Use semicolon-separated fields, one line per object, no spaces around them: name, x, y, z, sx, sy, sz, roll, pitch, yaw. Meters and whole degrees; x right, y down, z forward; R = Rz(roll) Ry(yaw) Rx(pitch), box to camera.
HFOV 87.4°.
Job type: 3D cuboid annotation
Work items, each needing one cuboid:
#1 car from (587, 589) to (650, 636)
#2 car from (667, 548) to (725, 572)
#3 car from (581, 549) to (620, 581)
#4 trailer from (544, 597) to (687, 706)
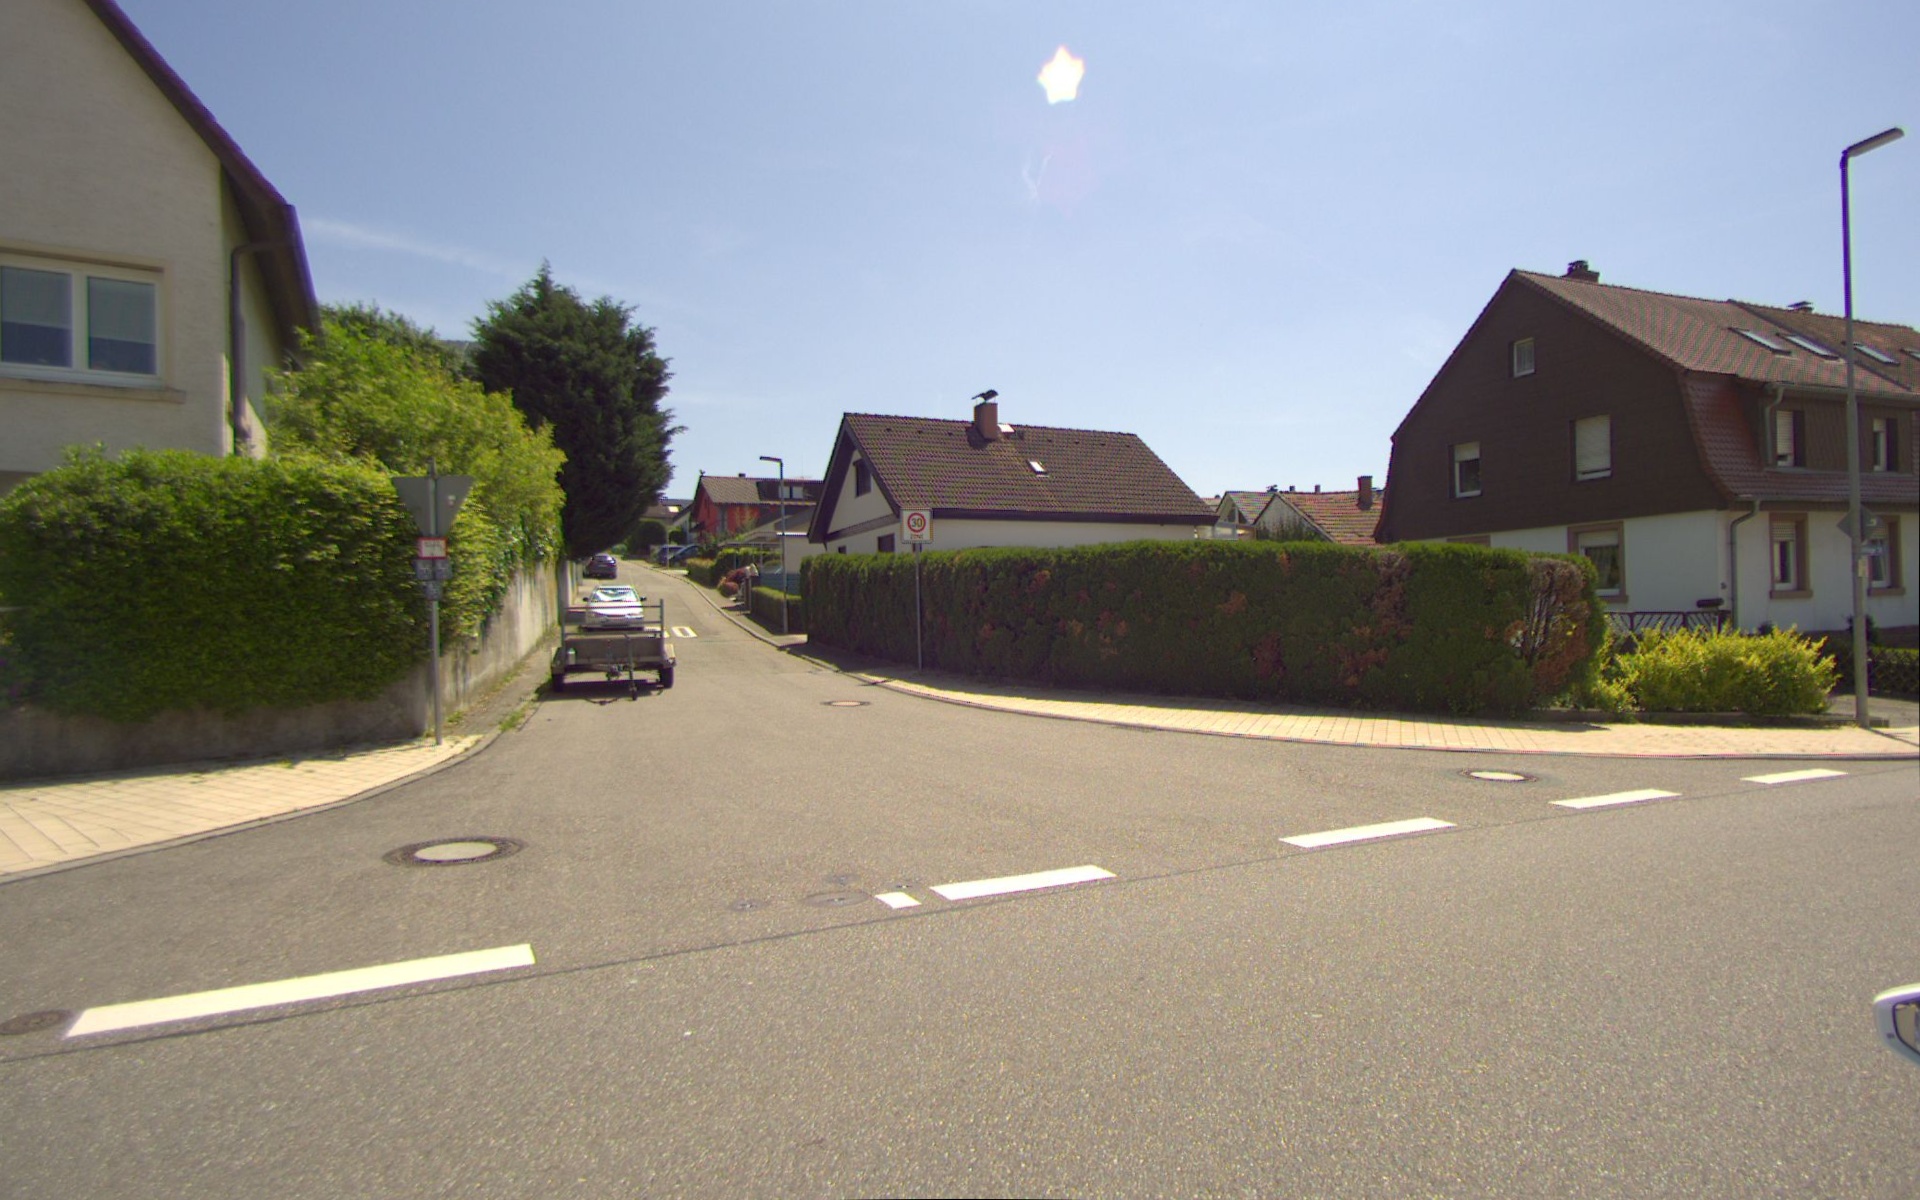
car;-10.563;0.345;30.923;1.722;1.207;3.760;1;2;-21
car;-19.216;-2.899;73.163;3.941;1.617;1.687;1;0;-21
car;-21.699;-2.142;60.600;2.159;1.847;4.283;1;3;-21
trailer;-5.780;0.729;17.006;1.969;1.525;5.058;0;0;-18
